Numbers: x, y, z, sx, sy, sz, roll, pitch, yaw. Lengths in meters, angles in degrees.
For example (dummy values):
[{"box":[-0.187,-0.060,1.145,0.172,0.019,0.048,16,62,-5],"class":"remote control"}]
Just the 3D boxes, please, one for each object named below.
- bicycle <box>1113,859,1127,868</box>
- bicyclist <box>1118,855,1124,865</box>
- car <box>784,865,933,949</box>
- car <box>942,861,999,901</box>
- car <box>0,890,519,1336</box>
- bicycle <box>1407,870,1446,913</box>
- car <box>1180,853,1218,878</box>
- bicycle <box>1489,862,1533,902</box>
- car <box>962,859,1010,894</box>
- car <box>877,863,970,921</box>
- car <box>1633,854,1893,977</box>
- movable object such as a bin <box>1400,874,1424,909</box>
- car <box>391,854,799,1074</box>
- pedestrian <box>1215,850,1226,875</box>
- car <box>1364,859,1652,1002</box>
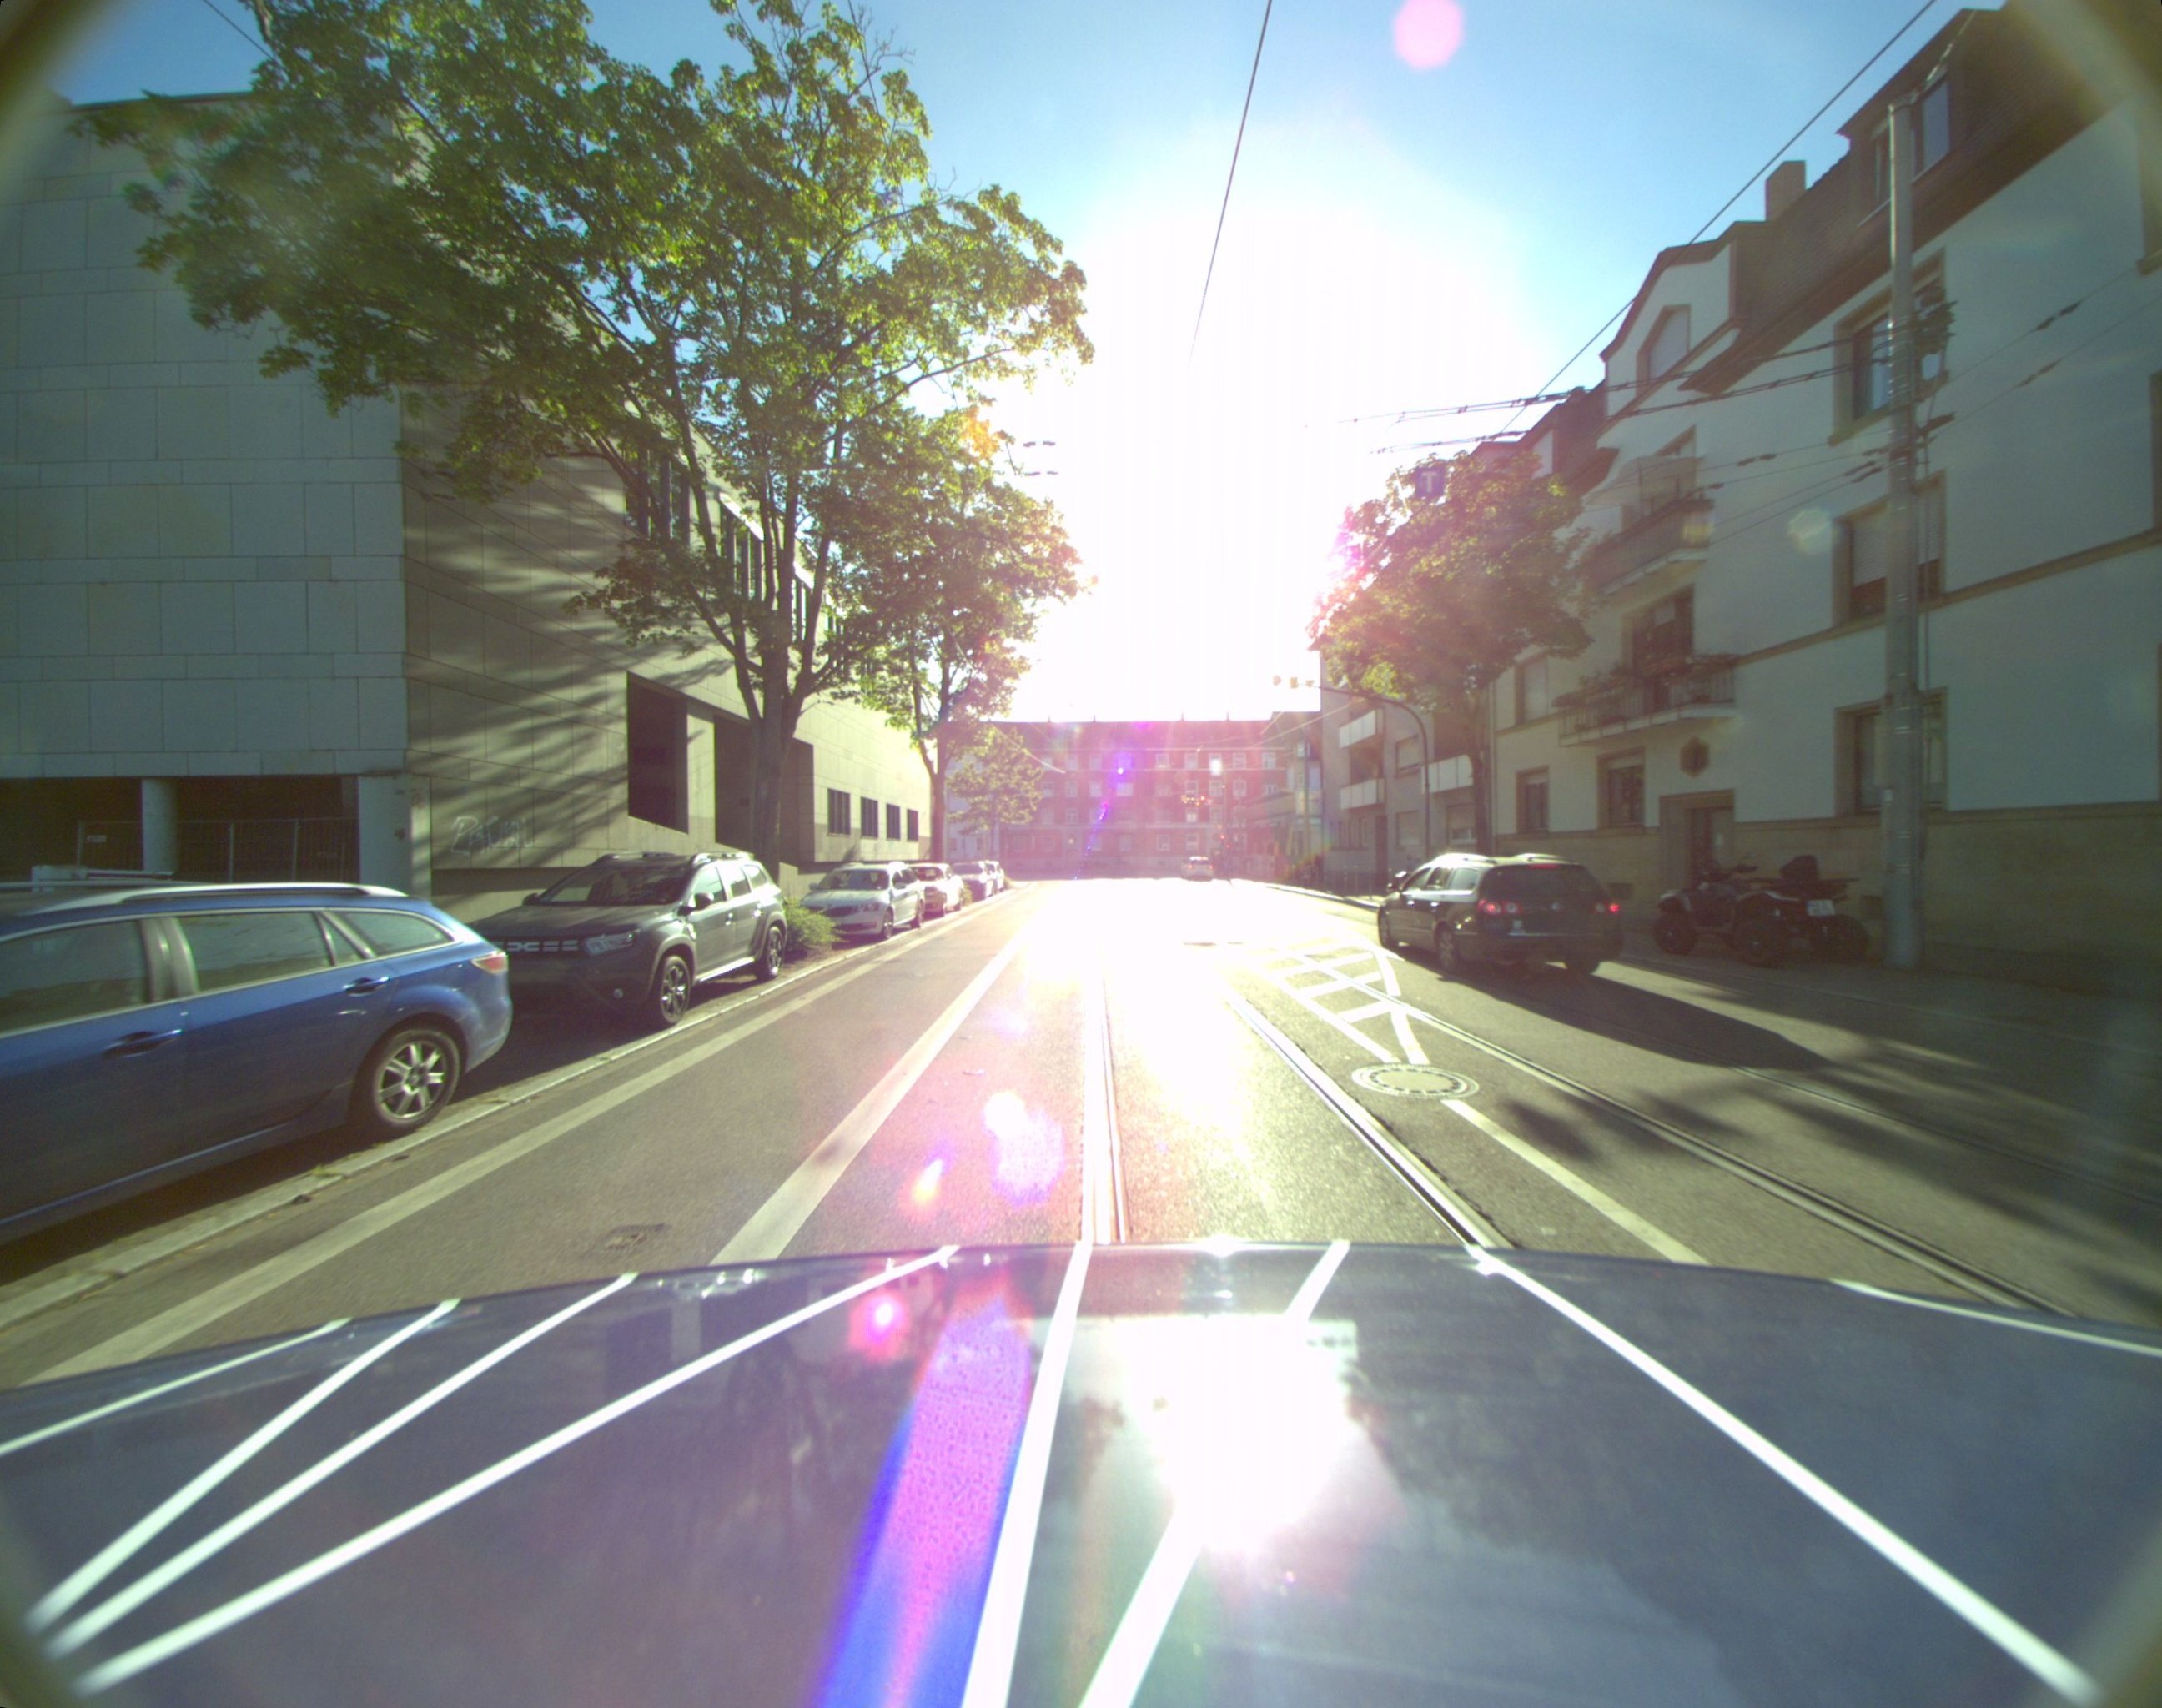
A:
[{"box":[4.724,1.152,92.581,1.676,0.943,0.554,-2,1,0],"class":"bicycle"},{"box":[4.858,0.699,92.564,0.668,1.217,0.554,-2,1,0],"class":"bicyclist"},{"box":[-4.462,0.990,16.005,1.716,1.481,4.623,0,0,1],"class":"car"},{"box":[-4.367,1.022,30.675,1.682,1.399,4.660,1,1,-1],"class":"car"},{"box":[-4.772,1.016,2.912,1.706,1.473,4.658,-1,1,1],"class":"car"},{"box":[9.153,0.979,20.178,0.303,1.036,1.661,-2,1,1],"class":"bicycle"},{"box":[7.729,0.721,50.042,1.923,1.516,4.000,-2,1,1],"class":"car"},{"box":[12.048,0.755,21.330,0.303,1.036,1.661,-2,1,1],"class":"bicycle"},{"box":[-4.469,1.016,36.123,1.654,1.471,4.000,-2,1,1],"class":"car"},{"box":[-4.414,1.021,21.885,1.713,1.399,4.328,1,1,1],"class":"car"},{"box":[9.484,0.820,10.814,1.358,1.493,2.548,-2,-2,1],"class":"car"},{"box":[9.304,1.055,21.369,0.425,0.930,0.582,-2,1,1],"class":"movable object such as a bin"},{"box":[-4.715,0.885,8.281,1.746,1.702,4.276,-1,1,-2],"class":"car"},{"box":[9.831,0.580,53.457,0.640,1.764,0.583,-2,1,1],"class":"pedestrian"},{"box":[5.505,0.840,10.634,1.769,1.455,4.749,0,1,6],"class":"car"}]
